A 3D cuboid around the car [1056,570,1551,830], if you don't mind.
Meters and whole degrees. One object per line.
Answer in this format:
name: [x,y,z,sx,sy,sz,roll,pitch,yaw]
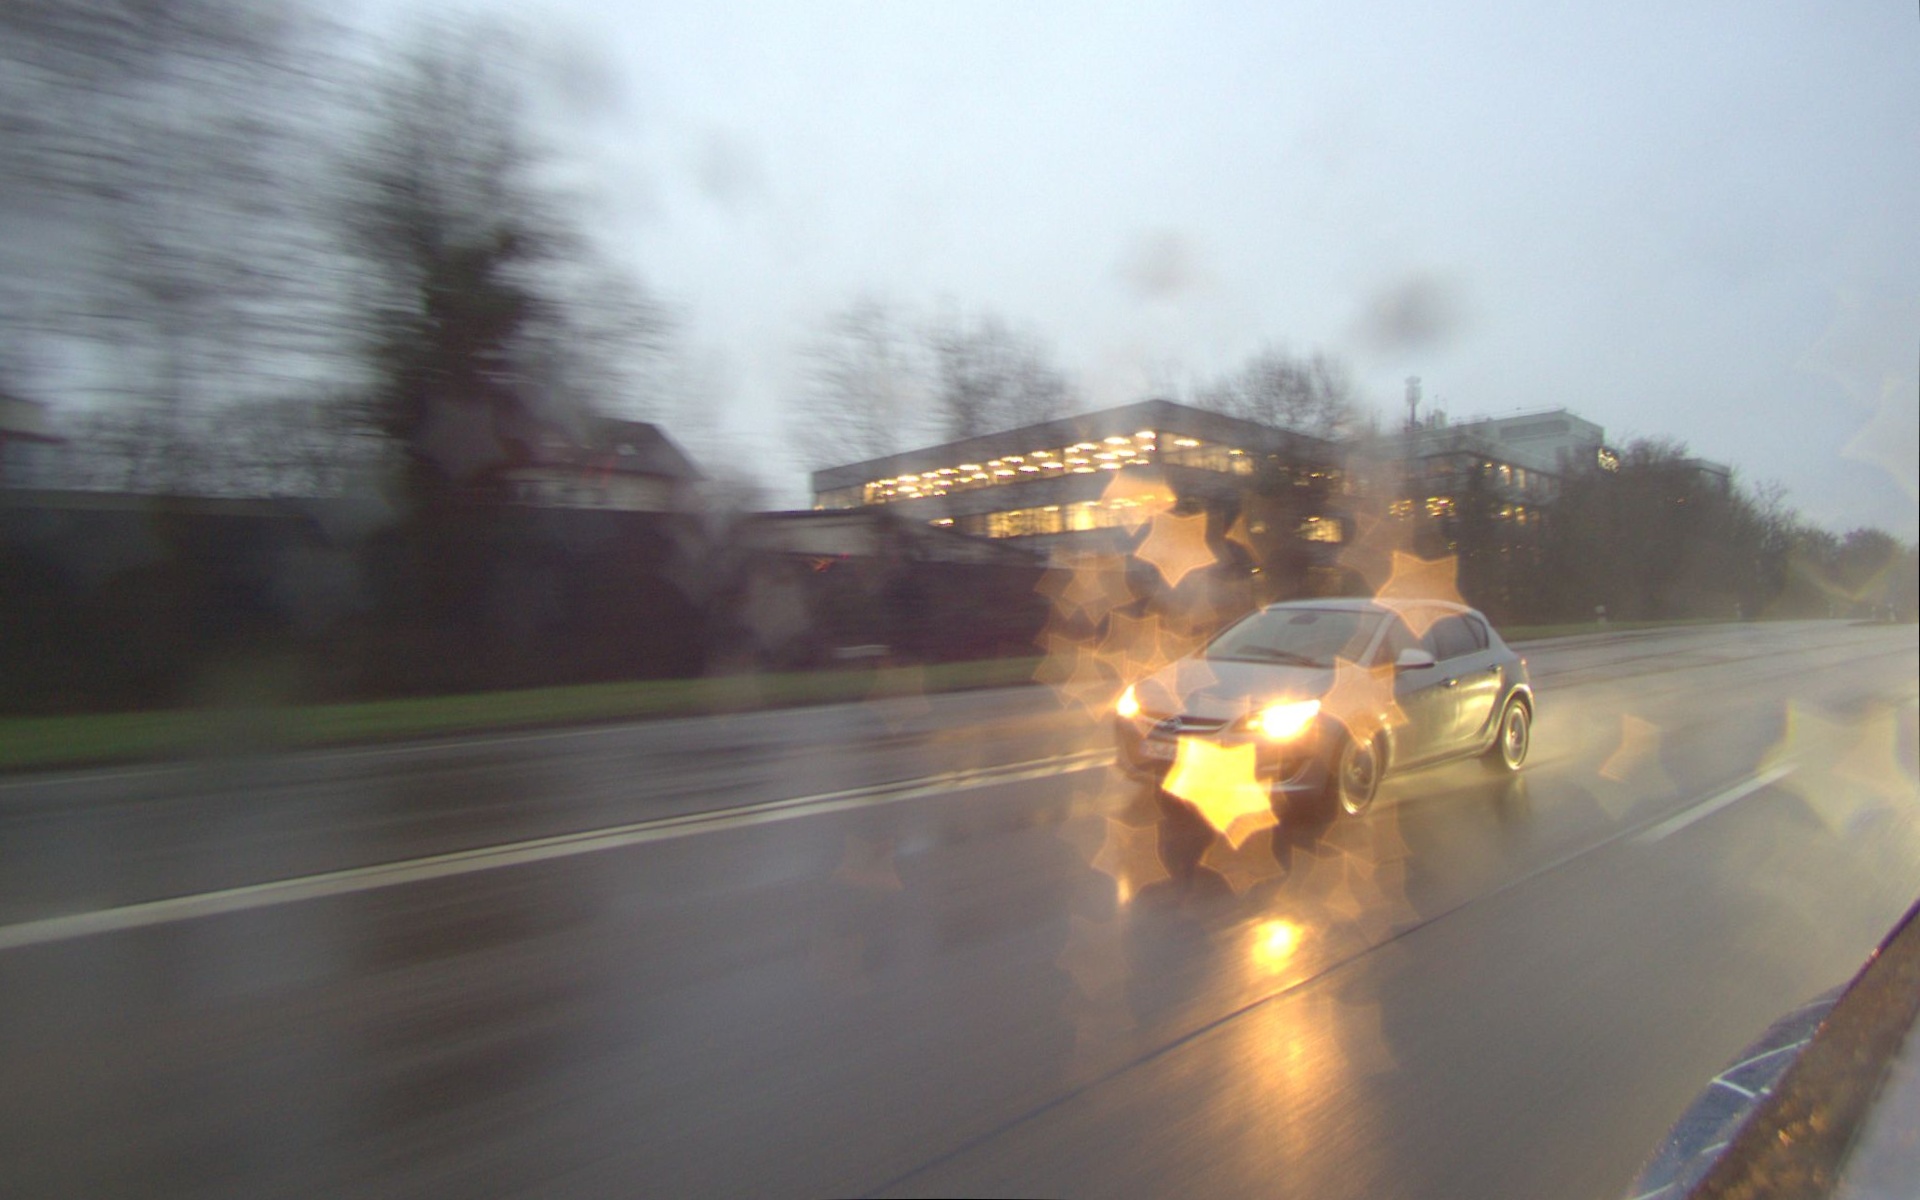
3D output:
car: [2.879,0.560,8.006,4.188,1.520,1.852,-1,0,-41]
